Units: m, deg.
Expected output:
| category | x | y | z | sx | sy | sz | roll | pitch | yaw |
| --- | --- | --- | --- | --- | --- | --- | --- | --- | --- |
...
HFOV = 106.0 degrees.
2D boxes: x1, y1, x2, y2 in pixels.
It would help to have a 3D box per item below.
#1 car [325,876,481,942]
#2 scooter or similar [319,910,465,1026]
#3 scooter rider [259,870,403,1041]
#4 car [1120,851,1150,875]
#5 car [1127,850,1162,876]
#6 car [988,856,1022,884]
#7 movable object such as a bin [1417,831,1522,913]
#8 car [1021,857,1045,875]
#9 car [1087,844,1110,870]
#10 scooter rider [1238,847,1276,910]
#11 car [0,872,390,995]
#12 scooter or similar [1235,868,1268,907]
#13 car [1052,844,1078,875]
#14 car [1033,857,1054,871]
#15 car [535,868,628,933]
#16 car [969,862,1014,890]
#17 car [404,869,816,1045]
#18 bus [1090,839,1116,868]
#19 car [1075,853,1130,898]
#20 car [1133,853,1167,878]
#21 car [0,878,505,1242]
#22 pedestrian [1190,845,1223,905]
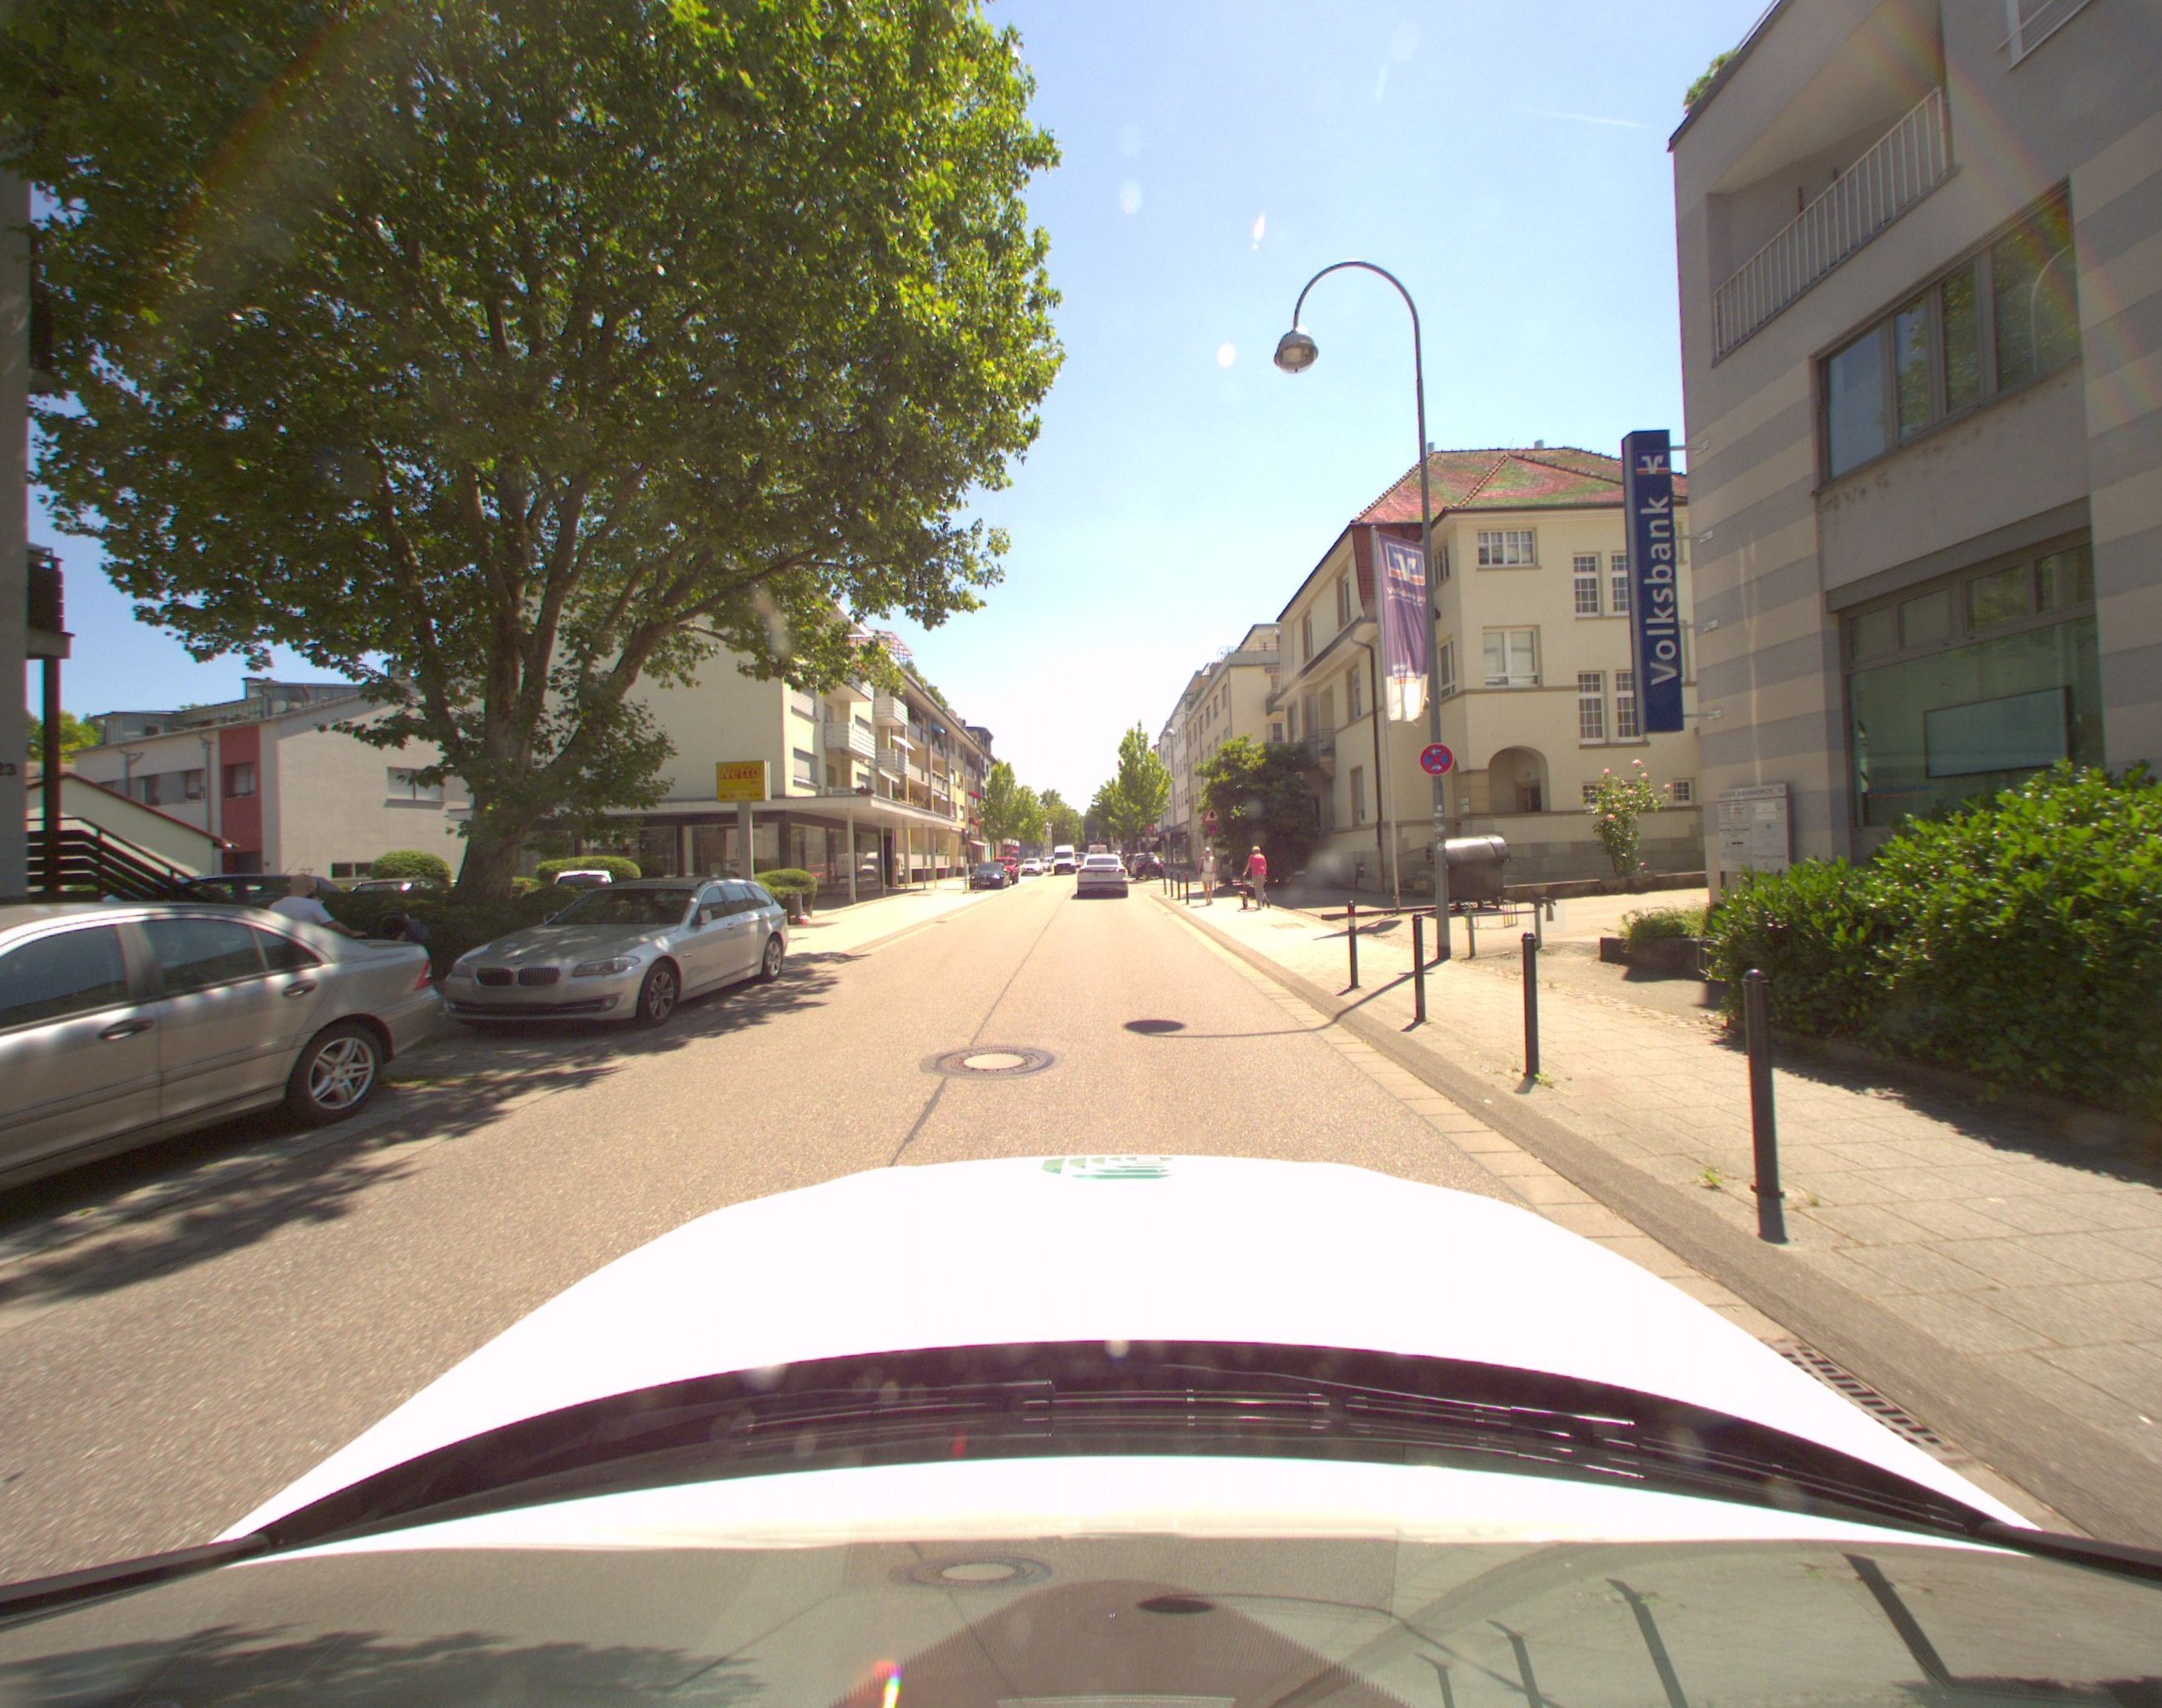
| category | x | y | z | sx | sy | sz | roll | pitch | yaw |
| --- | --- | --- | --- | --- | --- | --- | --- | --- | --- |
| car | -18.089 | 1.388 | 21.979 | 1.749 | 1.462 | 3.908 | -3 | 0 | -16 |
| scooter or similar | -7.335 | 1.185 | 8.724 | 0.661 | 1.098 | 1.029 | 0 | 0 | 2 |
| scooter rider | -7.374 | 0.955 | 8.047 | 0.586 | 1.575 | 0.878 | 0 | 0 | 2 |
| car | 4.160 | 0.691 | 63.598 | 1.851 | 1.674 | 4.534 | -4 | 0 | -2 |
| car | 4.504 | 0.645 | 58.252 | 1.891 | 1.674 | 4.687 | -4 | 0 | -2 |
| car | -4.743 | 0.957 | 51.434 | 1.747 | 1.702 | 4.101 | 0 | 0 | 0 |
| movable object such as a bin | 7.761 | 0.358 | 16.352 | 1.362 | 1.458 | 1.381 | -5 | -1 | 2 |
| car | -4.377 | 1.085 | 74.745 | 1.746 | 1.618 | 4.403 | 0 | 0 | 2 |
| car | 1.659 | 0.304 | 78.577 | 2.148 | 2.442 | 5.284 | 0 | -1 | 1 |
| scooter rider | 4.481 | 0.613 | 20.779 | 0.714 | 1.548 | 0.770 | -3 | 0 | -1 |
| car | -14.149 | 1.152 | 13.235 | 1.794 | 1.545 | 4.121 | -3 | 0 | 14 |
| scooter or similar | 4.486 | 0.861 | 21.430 | 0.661 | 0.963 | 0.754 | -3 | 0 | 0 |
| car | -1.454 | 0.533 | 76.404 | 2.030 | 2.630 | 7.107 | -4 | 0 | 0 |
| car | -3.895 | 1.056 | 85.611 | 1.745 | 1.453 | 4.404 | 0 | 0 | 3 |
| car | -13.116 | 1.160 | 21.561 | 1.903 | 1.486 | 3.957 | -2 | 0 | -30 |
| car | -4.880 | 1.158 | 44.958 | 1.890 | 1.417 | 5.047 | 0 | 0 | 0 |
| car | -5.064 | 0.971 | 9.883 | 1.975 | 1.452 | 5.149 | -1 | 0 | 0 |
| bus | 2.543 | -0.039 | 92.183 | 2.649 | 3.221 | 7.307 | 0 | -1 | 3 |
| car | 0.781 | 0.795 | 31.694 | 1.987 | 1.633 | 3.999 | -1 | 0 | 0 |
| car | 4.365 | 0.718 | 52.110 | 1.888 | 1.438 | 4.547 | -2 | 0 | 2 |
| car | -5.550 | 0.927 | 3.989 | 1.975 | 1.452 | 4.867 | -1 | 0 | 0 |
| pedestrian | 3.615 | 0.600 | 23.516 | 0.698 | 1.626 | 0.783 | -5 | -1 | -1 |
